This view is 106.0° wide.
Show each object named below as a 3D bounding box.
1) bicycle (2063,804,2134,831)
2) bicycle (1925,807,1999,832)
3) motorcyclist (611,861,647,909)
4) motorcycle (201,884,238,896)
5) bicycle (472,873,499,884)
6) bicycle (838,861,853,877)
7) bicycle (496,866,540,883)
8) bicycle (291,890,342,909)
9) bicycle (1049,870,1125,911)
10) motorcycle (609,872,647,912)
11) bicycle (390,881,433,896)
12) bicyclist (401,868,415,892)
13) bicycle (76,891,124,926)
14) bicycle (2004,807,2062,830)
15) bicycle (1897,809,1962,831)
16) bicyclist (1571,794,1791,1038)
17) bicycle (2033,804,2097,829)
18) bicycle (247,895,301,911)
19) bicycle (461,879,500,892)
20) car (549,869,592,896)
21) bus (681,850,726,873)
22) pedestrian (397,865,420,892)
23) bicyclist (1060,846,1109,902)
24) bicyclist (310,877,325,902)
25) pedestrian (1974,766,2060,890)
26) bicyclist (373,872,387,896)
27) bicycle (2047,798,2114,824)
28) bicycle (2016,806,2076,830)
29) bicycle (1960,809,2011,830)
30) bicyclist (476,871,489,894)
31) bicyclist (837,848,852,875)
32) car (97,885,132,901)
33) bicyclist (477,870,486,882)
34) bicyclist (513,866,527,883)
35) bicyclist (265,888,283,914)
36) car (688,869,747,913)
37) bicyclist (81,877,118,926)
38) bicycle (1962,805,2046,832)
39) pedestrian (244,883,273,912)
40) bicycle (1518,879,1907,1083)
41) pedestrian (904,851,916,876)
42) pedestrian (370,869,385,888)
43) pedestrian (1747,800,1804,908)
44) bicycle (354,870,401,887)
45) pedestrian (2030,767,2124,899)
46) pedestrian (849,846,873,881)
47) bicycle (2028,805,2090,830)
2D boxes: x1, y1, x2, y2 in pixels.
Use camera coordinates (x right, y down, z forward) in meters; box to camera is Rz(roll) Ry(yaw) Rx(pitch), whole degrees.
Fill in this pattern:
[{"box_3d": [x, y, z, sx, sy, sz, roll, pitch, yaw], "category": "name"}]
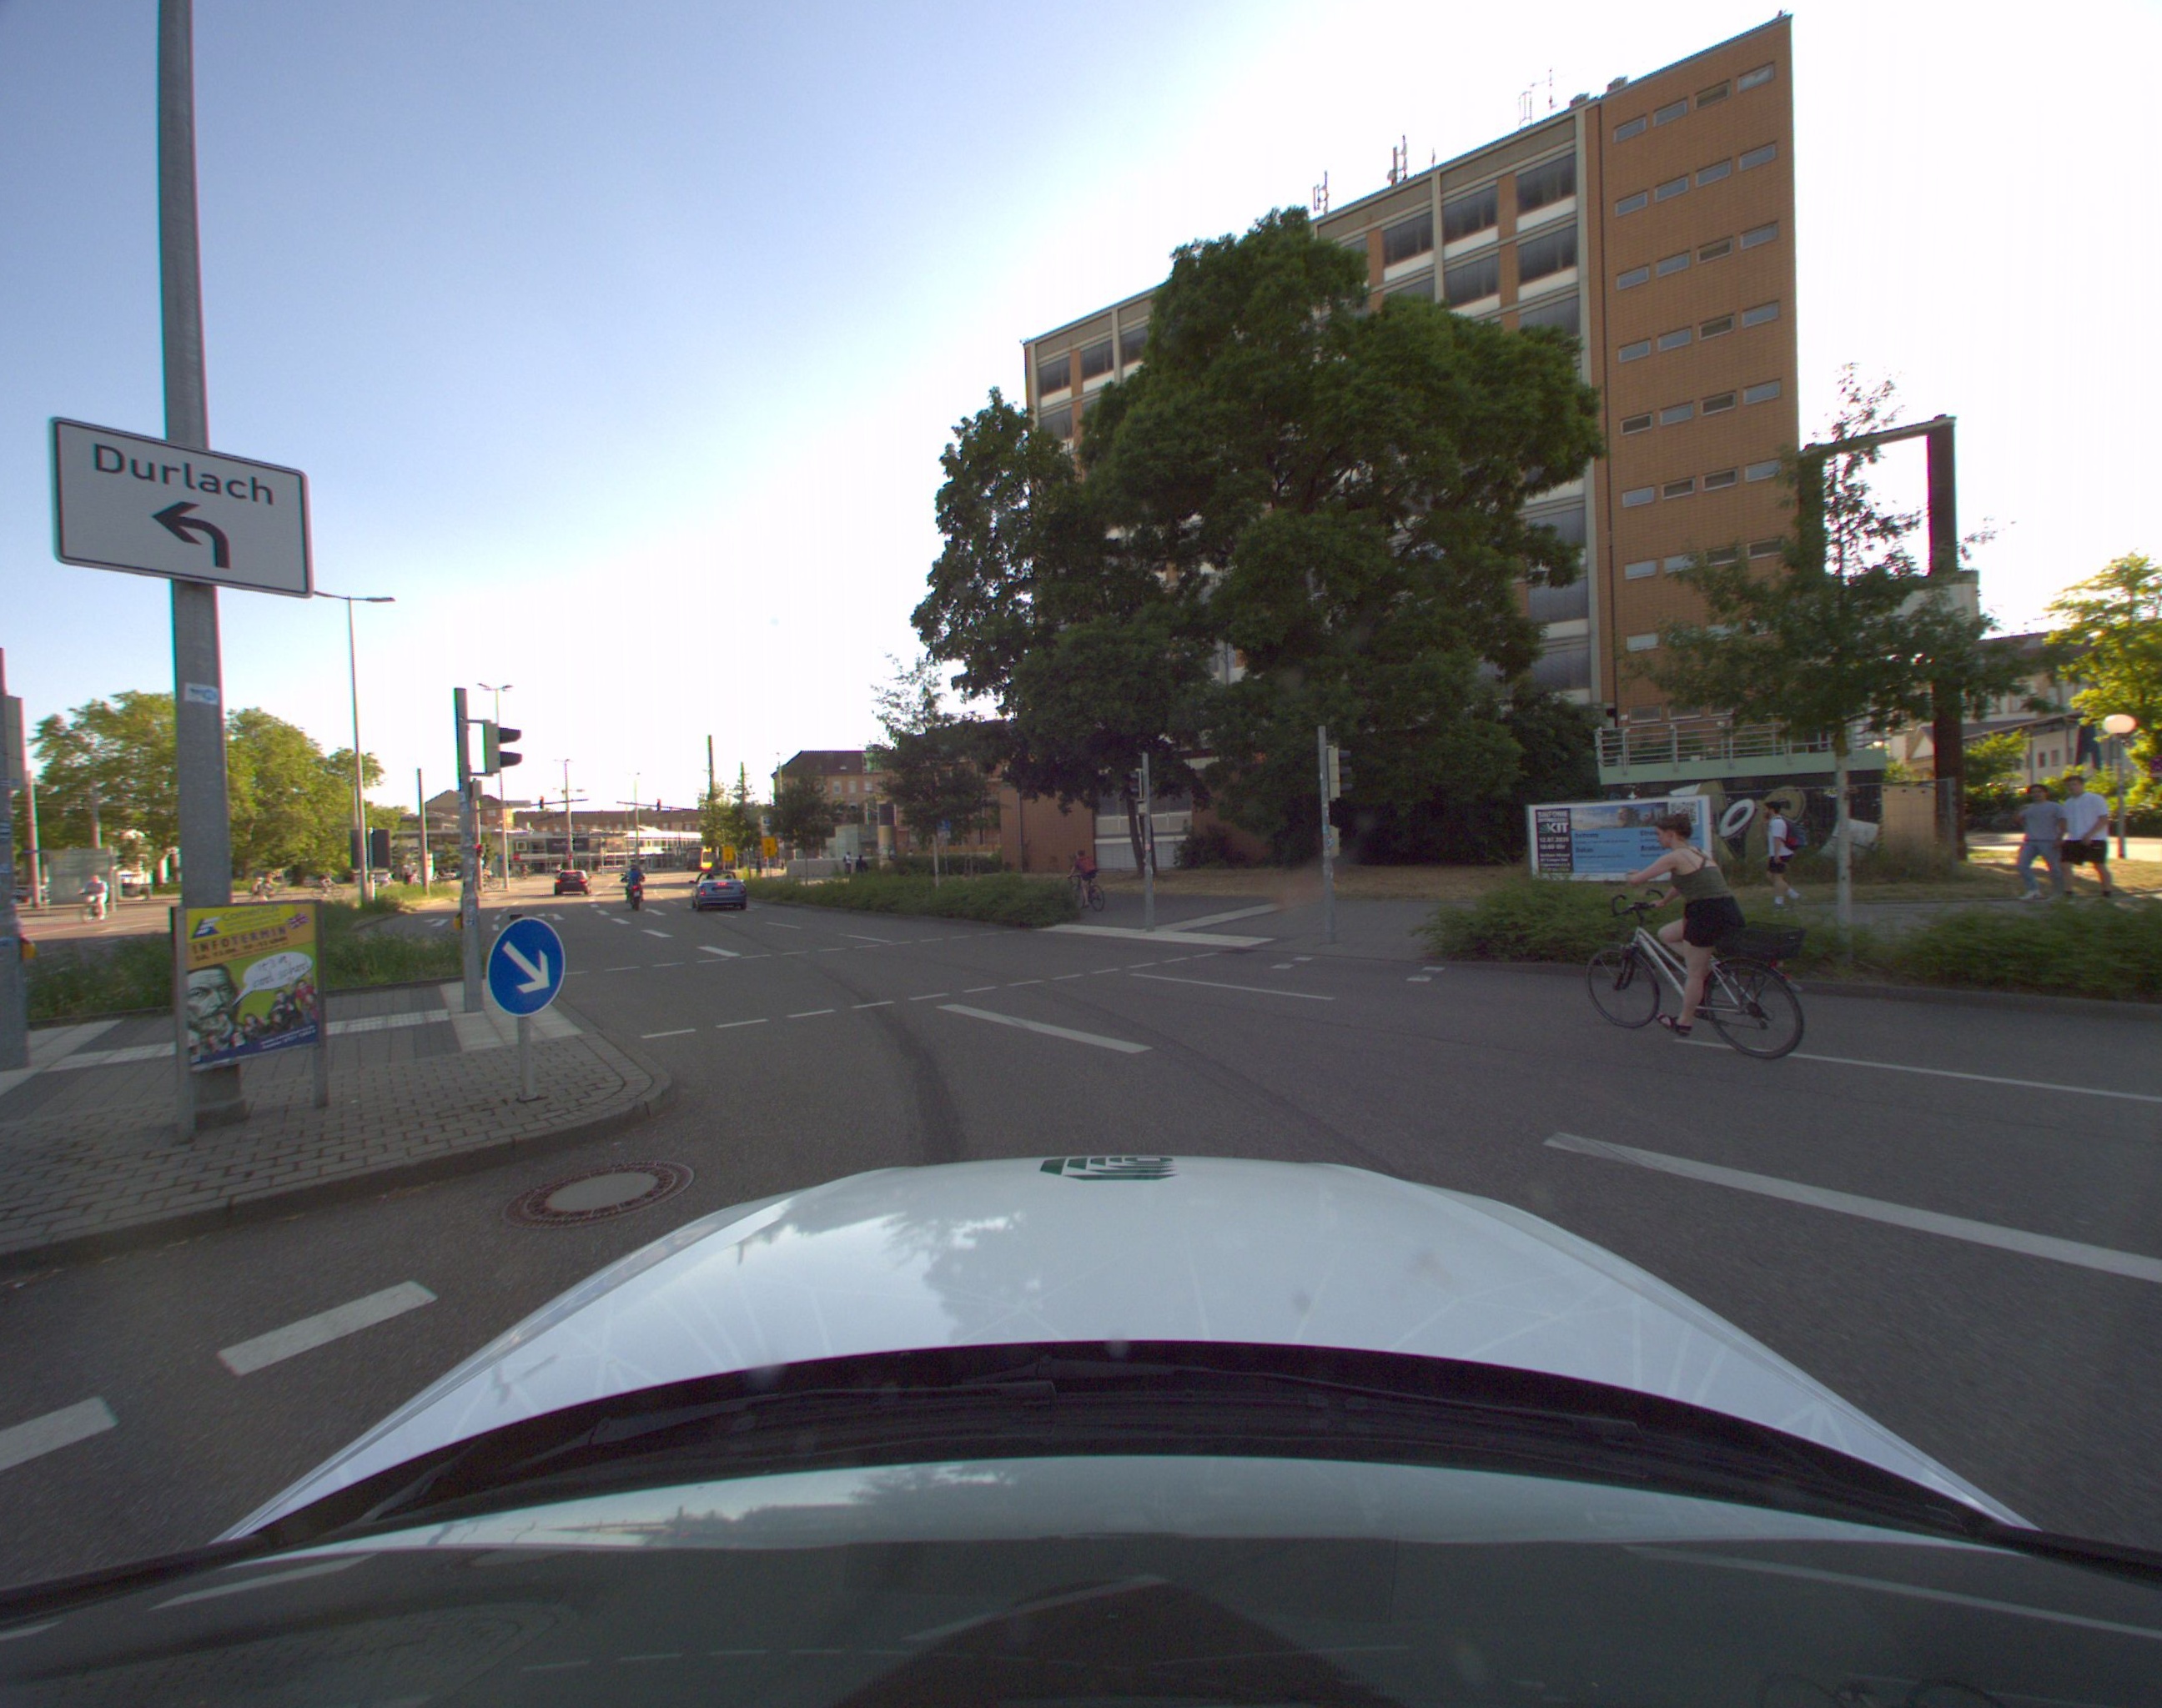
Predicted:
[{"box_3d": [42.676, -1.532, 34.176, 1.777, 1.107, 0.503, 0, 2, 36], "category": "bicycle"}, {"box_3d": [51.620, -2.009, 47.767, 2.844, 1.381, 0.687, 0, 2, 36], "category": "bicycle"}, {"box_3d": [-16.826, 1.129, 30.336, 1.102, 1.721, 0.928, -1, -1, -27], "category": "motorcyclist"}, {"box_3d": [-80.614, 3.362, 76.241, 2.304, 1.054, 0.679, -2, 2, -41], "category": "motorcycle"}, {"box_3d": [-64.691, 2.650, 88.519, 2.312, 0.959, 0.852, -3, 3, -32], "category": "bicycle"}, {"box_3d": [-16.557, 1.057, 57.180, 0.792, 1.038, 1.950, -4, 1, -20], "category": "bicycle"}, {"box_3d": [-64.254, 2.315, 92.994, 1.125, 1.690, 4.024, 1, 2, 44], "category": "bicycle"}, {"box_3d": [-53.491, 3.163, 57.042, 2.514, 1.133, 0.850, -2, 2, -40], "category": "bicycle"}, {"box_3d": [0.125, 0.928, 20.792, 0.725, 0.952, 2.224, -1, -2, -37], "category": "bicycle"}, {"box_3d": [-16.808, 1.392, 30.295, 1.102, 1.377, 2.629, -1, 0, -27], "category": "motorcycle"}, {"box_3d": [-49.114, 2.520, 59.782, 0.849, 0.905, 2.318, 1, 2, 42], "category": "bicycle"}, {"box_3d": [-49.264, 1.912, 59.601, 0.849, 1.690, 0.655, 1, 2, 43], "category": "bicyclist"}, {"box_3d": [-38.559, 2.125, 32.038, 0.746, 1.255, 2.526, -2, 0, -41], "category": "bicycle"}, {"box_3d": [46.995, -1.748, 40.232, 1.777, 1.107, 0.503, 0, 2, 36], "category": "bicycle"}, {"box_3d": [55.132, -2.192, 52.944, 2.844, 1.381, 0.687, 0, 2, 36], "category": "bicycle"}, {"box_3d": [4.588, 0.421, 6.292, 0.781, 1.677, 1.085, -3, 1, -21], "category": "bicyclist"}, {"box_3d": [44.820, -1.684, 37.124, 1.777, 1.107, 0.503, 0, 2, 36], "category": "bicycle"}, {"box_3d": [-53.858, 3.260, 54.372, 0.849, 0.874, 2.517, 1, 2, 40], "category": "bicycle"}, {"box_3d": [-45.939, 2.402, 62.340, 2.317, 0.905, 0.850, -2, 2, -44], "category": "bicycle"}, {"box_3d": [-29.747, 1.618, 47.532, 1.811, 1.444, 3.942, -1, 0, -28], "category": "car"}, {"box_3d": [-52.779, 0.949, 114.079, 2.350, 2.883, 9.565, -3, 1, -4], "category": "bus"}, {"box_3d": [-42.380, 1.539, 51.308, 0.690, 1.671, 0.833, -2, 0, 23], "category": "pedestrian"}, {"box_3d": [0.086, 0.518, 20.832, 0.725, 1.384, 1.063, -1, -2, -37], "category": "bicyclist"}, {"box_3d": [-53.472, 2.478, 57.049, 0.655, 1.690, 0.850, -2, 2, -40], "category": "bicyclist"}, {"box_3d": [14.598, -0.406, 12.718, 0.573, 1.869, 0.622, -3, 0, -3], "category": "pedestrian"}, {"box_3d": [-51.413, 2.184, 59.696, 0.849, 1.690, 0.655, 1, 2, 44], "category": "bicyclist"}, {"box_3d": [43.834, -1.870, 35.734, 1.777, 1.107, 0.503, 0, 2, 36], "category": "bicycle"}, {"box_3d": [46.185, -1.705, 39.004, 1.777, 1.107, 0.503, 0, 2, 36], "category": "bicycle"}, {"box_3d": [49.554, -1.899, 44.646, 1.777, 1.107, 0.503, 0, 2, 36], "category": "bicycle"}, {"box_3d": [-45.882, 2.176, 62.396, 0.655, 1.690, 0.850, -2, 2, -43], "category": "bicyclist"}, {"box_3d": [-16.582, 0.533, 57.127, 0.789, 1.786, 0.888, -4, 0, -20], "category": "bicyclist"}, {"box_3d": [-98.080, 3.892, 82.657, 1.864, 1.452, 3.950, -2, 0, -44], "category": "car"}, {"box_3d": [-64.998, 2.381, 88.315, 0.717, 1.143, 0.829, -1, 2, -32], "category": "bicyclist"}, {"box_3d": [-64.133, 2.329, 93.106, 1.109, 1.900, 1.080, 1, 2, 44], "category": "bicyclist"}, {"box_3d": [-53.867, 3.120, 54.369, 0.849, 1.690, 0.752, 0, 2, 41], "category": "bicyclist"}, {"box_3d": [-13.487, 1.304, 30.132, 1.810, 1.444, 3.943, -1, 0, -27], "category": "car"}, {"box_3d": [-38.518, 1.841, 31.973, 0.746, 1.832, 1.001, -2, -1, -41], "category": "bicyclist"}, {"box_3d": [48.671, -1.843, 42.997, 2.844, 1.381, 0.687, 0, 2, 36], "category": "bicycle"}, {"box_3d": [-48.442, 2.525, 47.964, 1.101, 1.606, 0.691, -2, 2, -39], "category": "pedestrian"}, {"box_3d": [4.626, 0.822, 6.248, 0.781, 1.156, 2.275, -3, 1, -21], "category": "bicycle"}, {"box_3d": [-11.125, 0.623, 53.016, 0.723, 1.659, 0.716, 0, -1, -9], "category": "pedestrian"}, {"box_3d": [-71.130, 2.499, 82.333, 0.995, 1.816, 0.911, -1, 1, -30], "category": "pedestrian"}, {"box_3d": [11.280, -0.007, 13.224, 0.622, 1.699, 0.626, -2, 1, 44], "category": "pedestrian"}, {"box_3d": [-51.484, 1.797, 59.623, 0.849, 1.133, 2.516, 1, 2, 44], "category": "bicycle"}, {"box_3d": [14.645, -0.305, 11.990, 0.573, 1.869, 0.622, -3, 0, -3], "category": "pedestrian"}, {"box_3d": [-10.794, 0.467, 39.963, 0.812, 1.658, 0.781, -5, 2, -38], "category": "pedestrian"}, {"box_3d": [45.323, -1.682, 37.764, 1.777, 1.107, 0.503, 0, 2, 36], "category": "bicycle"}]
